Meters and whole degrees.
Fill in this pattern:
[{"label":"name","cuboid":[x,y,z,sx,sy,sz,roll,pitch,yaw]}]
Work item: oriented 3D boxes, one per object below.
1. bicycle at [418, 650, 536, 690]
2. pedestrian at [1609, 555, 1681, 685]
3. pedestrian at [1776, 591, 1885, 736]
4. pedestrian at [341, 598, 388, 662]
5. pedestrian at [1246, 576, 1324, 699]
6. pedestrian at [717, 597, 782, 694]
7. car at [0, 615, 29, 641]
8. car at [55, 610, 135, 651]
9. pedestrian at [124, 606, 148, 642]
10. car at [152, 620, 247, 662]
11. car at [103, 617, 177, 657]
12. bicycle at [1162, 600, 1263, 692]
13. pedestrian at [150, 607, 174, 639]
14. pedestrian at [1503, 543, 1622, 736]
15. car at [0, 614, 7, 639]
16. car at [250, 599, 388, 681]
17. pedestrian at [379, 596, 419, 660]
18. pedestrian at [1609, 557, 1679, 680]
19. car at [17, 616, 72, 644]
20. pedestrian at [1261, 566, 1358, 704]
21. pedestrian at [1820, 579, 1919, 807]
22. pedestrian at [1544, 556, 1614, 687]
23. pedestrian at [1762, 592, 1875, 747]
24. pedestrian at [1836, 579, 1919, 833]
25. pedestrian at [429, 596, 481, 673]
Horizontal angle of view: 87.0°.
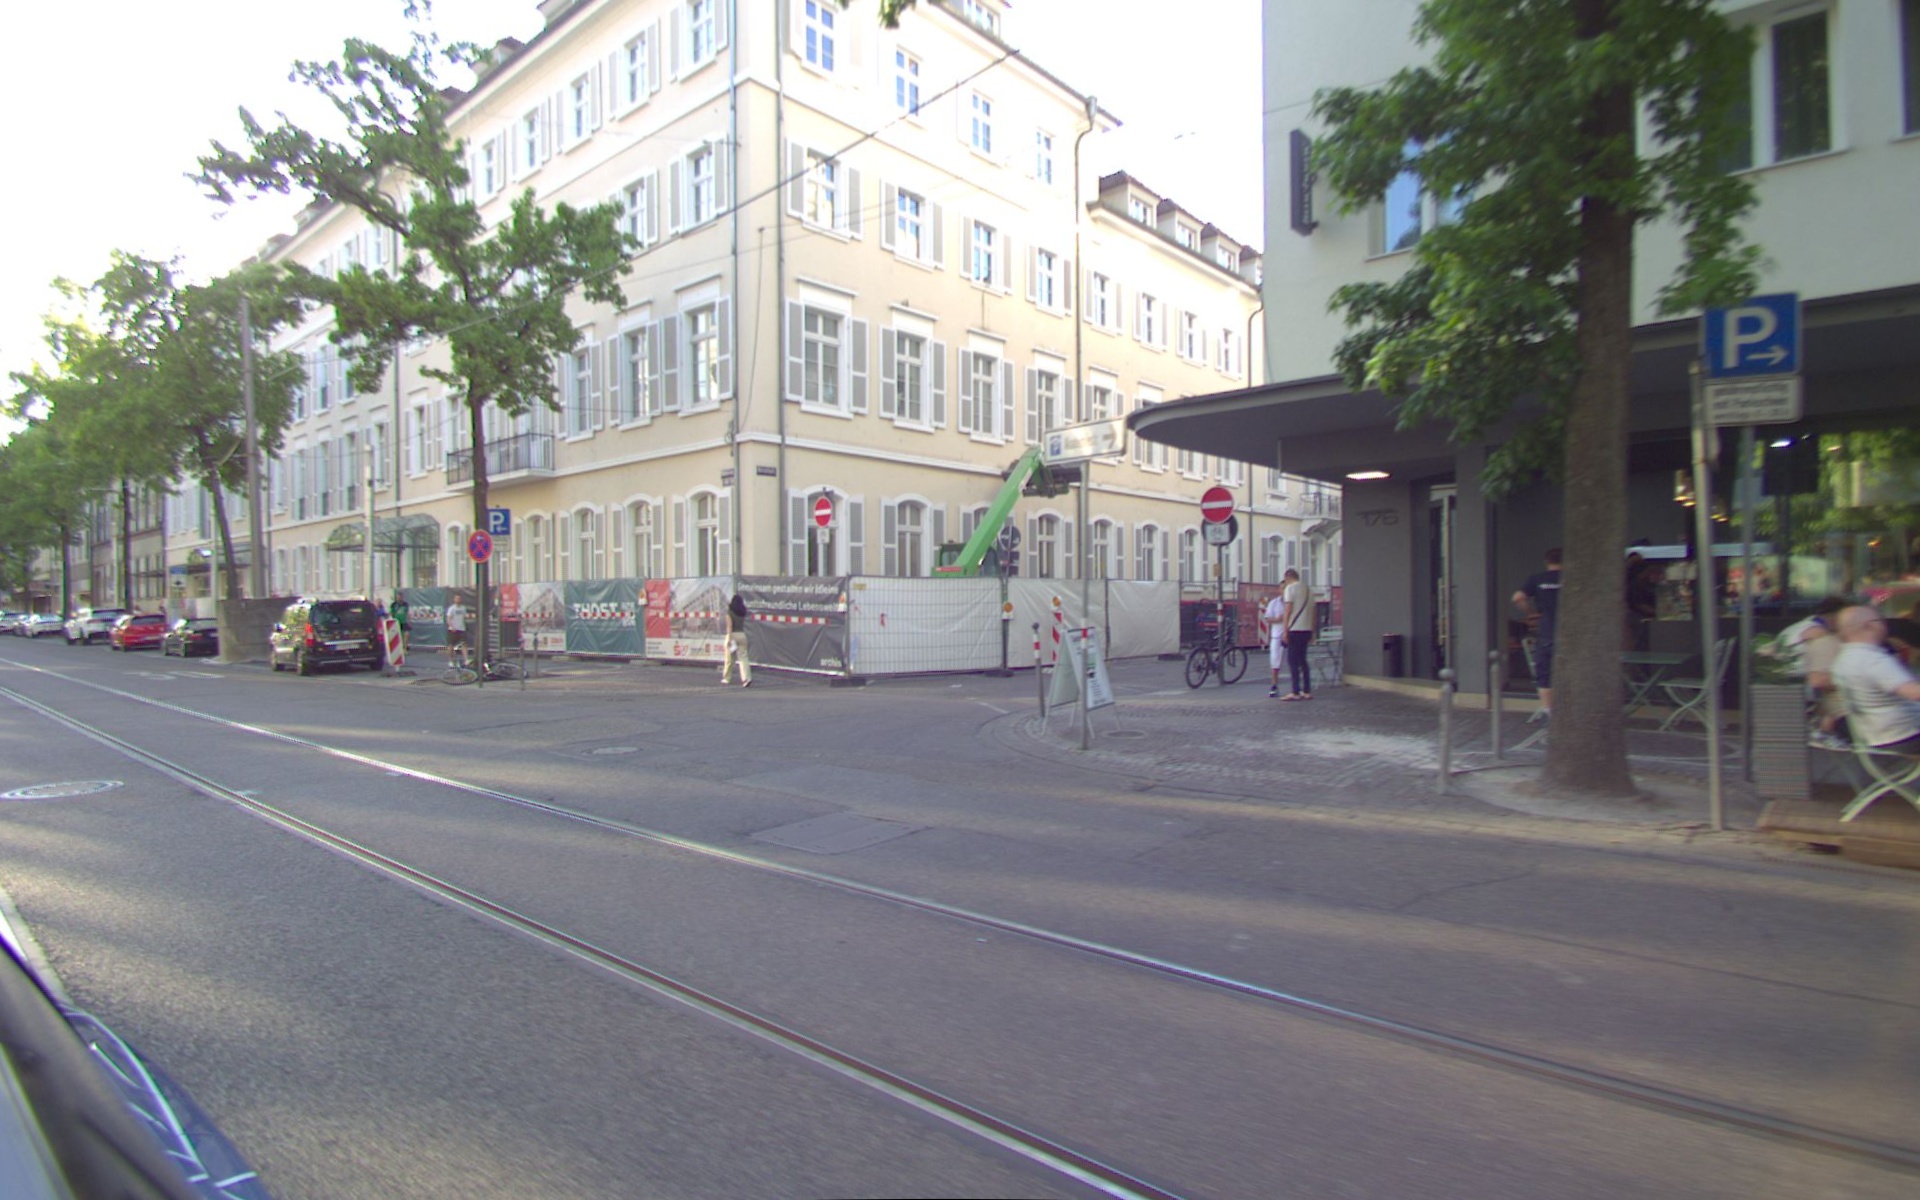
[{"label":"bicycle","cuboid":[-9.594,1.368,20.119,1.283,0.613,1.775,-1,1,45]},{"label":"pedestrian","cuboid":[8.759,0.251,12.947,0.398,1.616,0.623,-1,-1,-15]},{"label":"pedestrian","cuboid":[8.145,0.567,9.477,0.738,1.279,0.638,-1,1,42]},{"label":"pedestrian","cuboid":[-17.516,0.879,29.769,0.884,1.795,0.856,-1,2,41]},{"label":"pedestrian","cuboid":[4.522,0.514,14.064,0.861,1.627,0.791,-4,-1,25]},{"label":"pedestrian","cuboid":[-3.751,0.793,18.030,0.967,1.669,0.699,-2,-2,43]},{"label":"car","cuboid":[-68.114,2.017,72.237,4.763,1.754,1.927,-1,2,41]},{"label":"car","cuboid":[-40.060,1.383,46.849,4.945,1.701,1.848,-1,2,39]},{"label":"pedestrian","cuboid":[-41.619,1.194,51.112,0.933,1.755,0.736,-1,2,42]},{"label":"car","cuboid":[-26.139,1.366,34.733,4.505,1.254,1.700,-1,2,41]},{"label":"car","cuboid":[-32.798,1.444,40.427,4.140,1.416,1.642,-1,2,43]},{"label":"bicycle","cuboid":[4.106,0.730,16.385,0.712,1.391,1.854,-5,-3,43]},{"label":"pedestrian","cuboid":[-40.820,1.191,51.772,0.933,1.592,0.736,-1,2,42]},{"label":"pedestrian","cuboid":[6.010,0.366,10.105,0.675,1.829,0.766,-2,1,-33]},{"label":"car","cuboid":[-79.083,2.182,82.282,4.763,1.972,1.906,-1,-1,41]},{"label":"car","cuboid":[-16.230,0.945,25.513,4.559,1.846,1.837,-1,0,43]},{"label":"pedestrian","cuboid":[-16.722,0.831,30.185,0.876,1.826,0.712,-1,2,41]},{"label":"pedestrian","cuboid":[9.147,0.246,13.557,0.615,1.616,0.498,-1,-1,16]},{"label":"car","cuboid":[-53.651,1.757,59.263,4.615,1.477,1.872,-1,2,42]},{"label":"pedestrian","cuboid":[4.637,0.448,13.442,0.851,1.754,0.800,-1,-1,-30]},{"label":"pedestrian","cuboid":[6.123,0.572,6.553,0.807,1.397,0.682,-1,1,42]},{"label":"pedestrian","cuboid":[7.852,0.262,12.846,0.398,1.616,0.623,-1,-1,-15]},{"label":"pedestrian","cuboid":[7.657,0.590,9.036,0.727,1.291,0.620,-1,1,42]},{"label":"pedestrian","cuboid":[5.571,0.581,5.794,0.807,1.397,0.682,-1,1,42]},{"label":"pedestrian","cuboid":[-12.376,0.822,24.808,0.984,1.805,0.766,-1,2,43]}]
